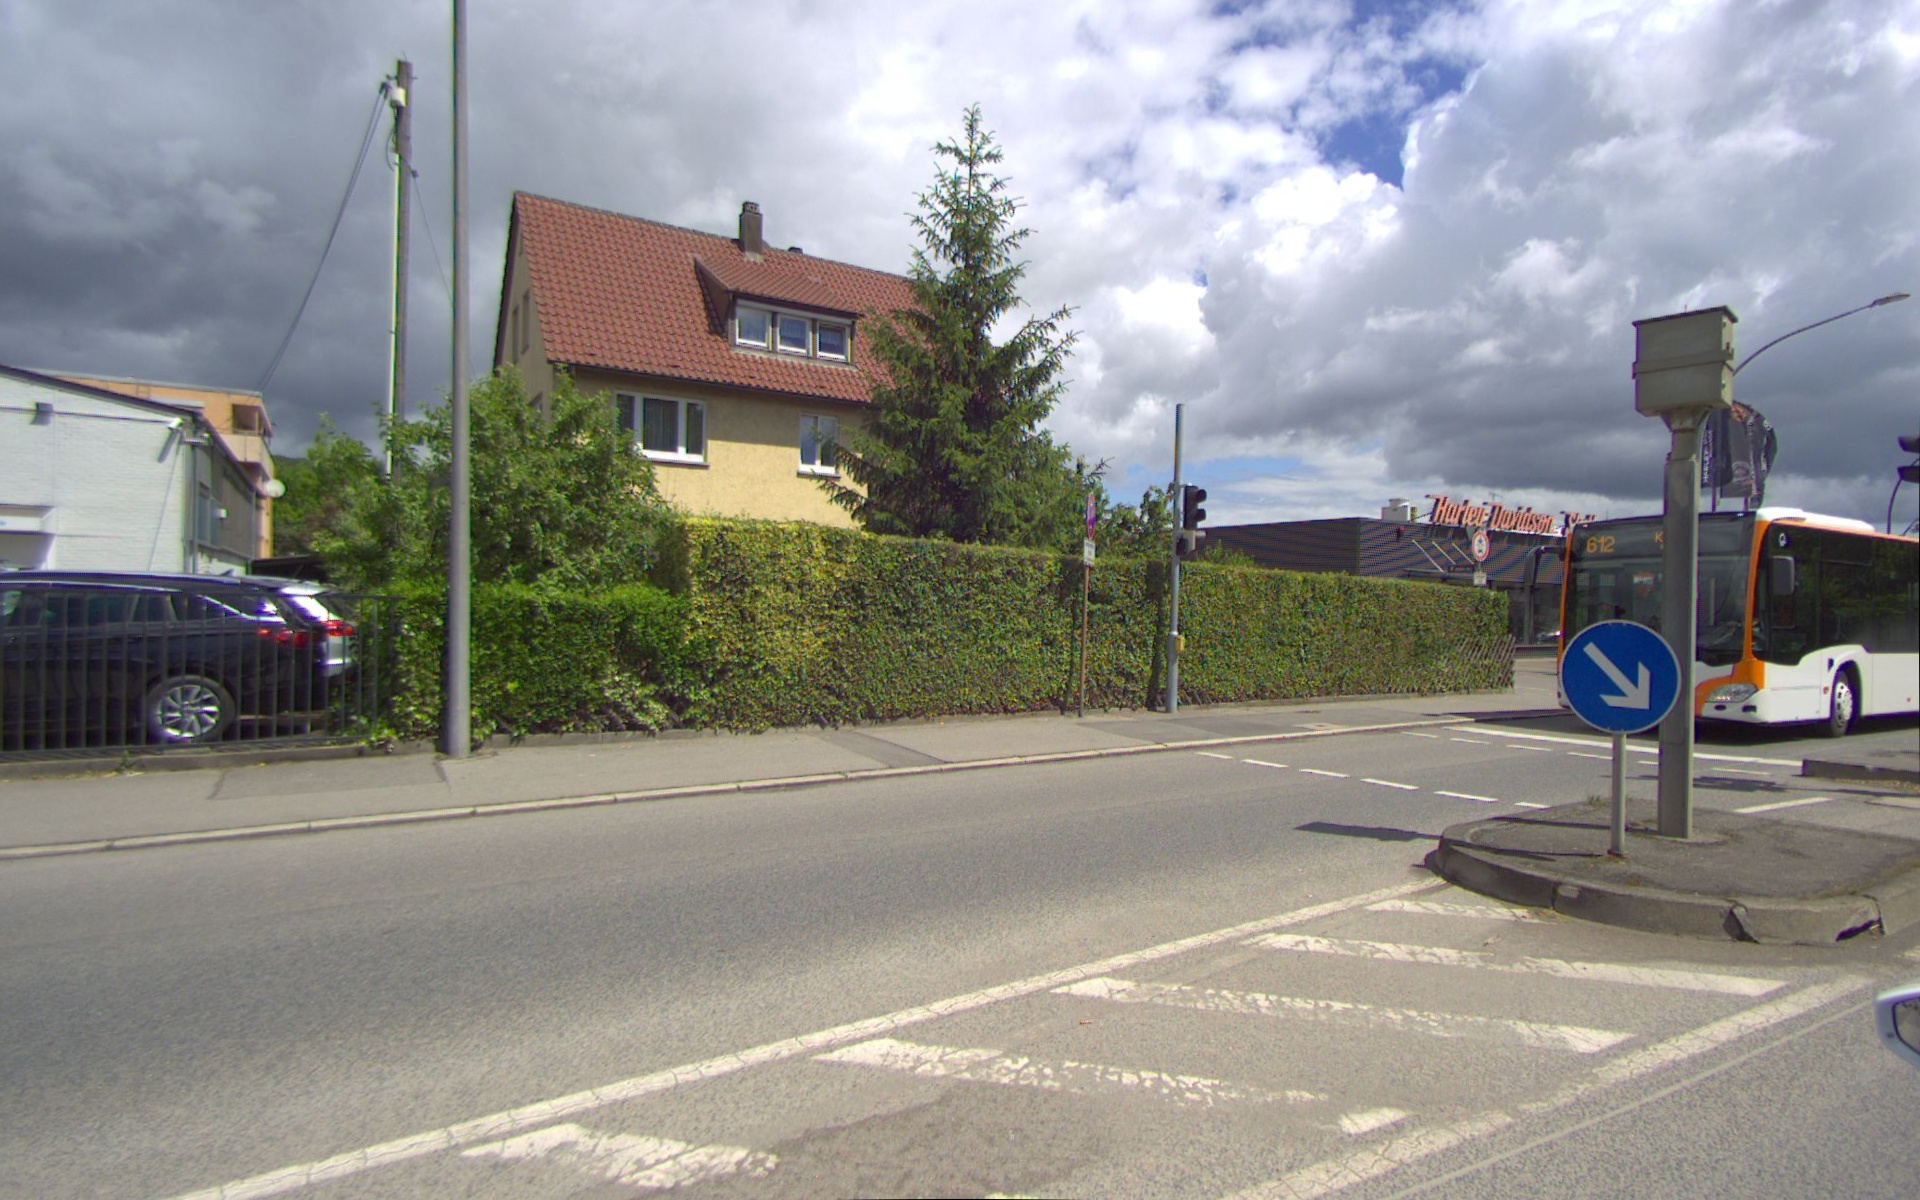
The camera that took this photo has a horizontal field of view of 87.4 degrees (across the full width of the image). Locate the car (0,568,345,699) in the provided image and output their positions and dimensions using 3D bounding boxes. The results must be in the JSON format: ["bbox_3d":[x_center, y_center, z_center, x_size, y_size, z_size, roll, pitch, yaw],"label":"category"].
[{"bbox_3d":[-10.725,0.436,13.631,3.953,1.569,1.984,2,0,-30],"label":"car"}]

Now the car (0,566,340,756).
[{"bbox_3d":[-7.856,0.479,8.855,3.997,1.502,1.850,2,0,-31],"label":"car"}]

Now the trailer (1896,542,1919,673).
[{"bbox_3d":[36.607,0.442,35.876,15.429,4.107,2.775,2,0,-40],"label":"trailer"}]

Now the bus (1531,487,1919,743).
[{"bbox_3d":[14.068,0.365,16.296,12.123,3.071,2.706,2,-1,-31],"label":"bus"}]

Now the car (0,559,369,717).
[{"bbox_3d":[-9.017,0.396,11.359,3.953,1.561,1.984,2,0,-30],"label":"car"}]

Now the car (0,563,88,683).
[{"bbox_3d":[-17.987,0.348,17.423,3.953,2.040,1.984,2,0,-30],"label":"car"}]

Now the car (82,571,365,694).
[{"bbox_3d":[-13.324,0.589,18.527,3.953,2.040,1.984,2,0,-30],"label":"car"}]

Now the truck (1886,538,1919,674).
[{"bbox_3d":[31.687,0.273,31.690,6.448,4.107,2.775,2,0,-40],"label":"truck"}]

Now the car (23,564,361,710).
[{"bbox_3d":[-11.827,0.562,15.884,3.953,2.040,1.984,2,0,-30],"label":"car"}]

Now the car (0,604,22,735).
[{"bbox_3d":[-16.710,1.042,14.699,3.953,2.040,1.984,2,0,-30],"label":"car"}]
